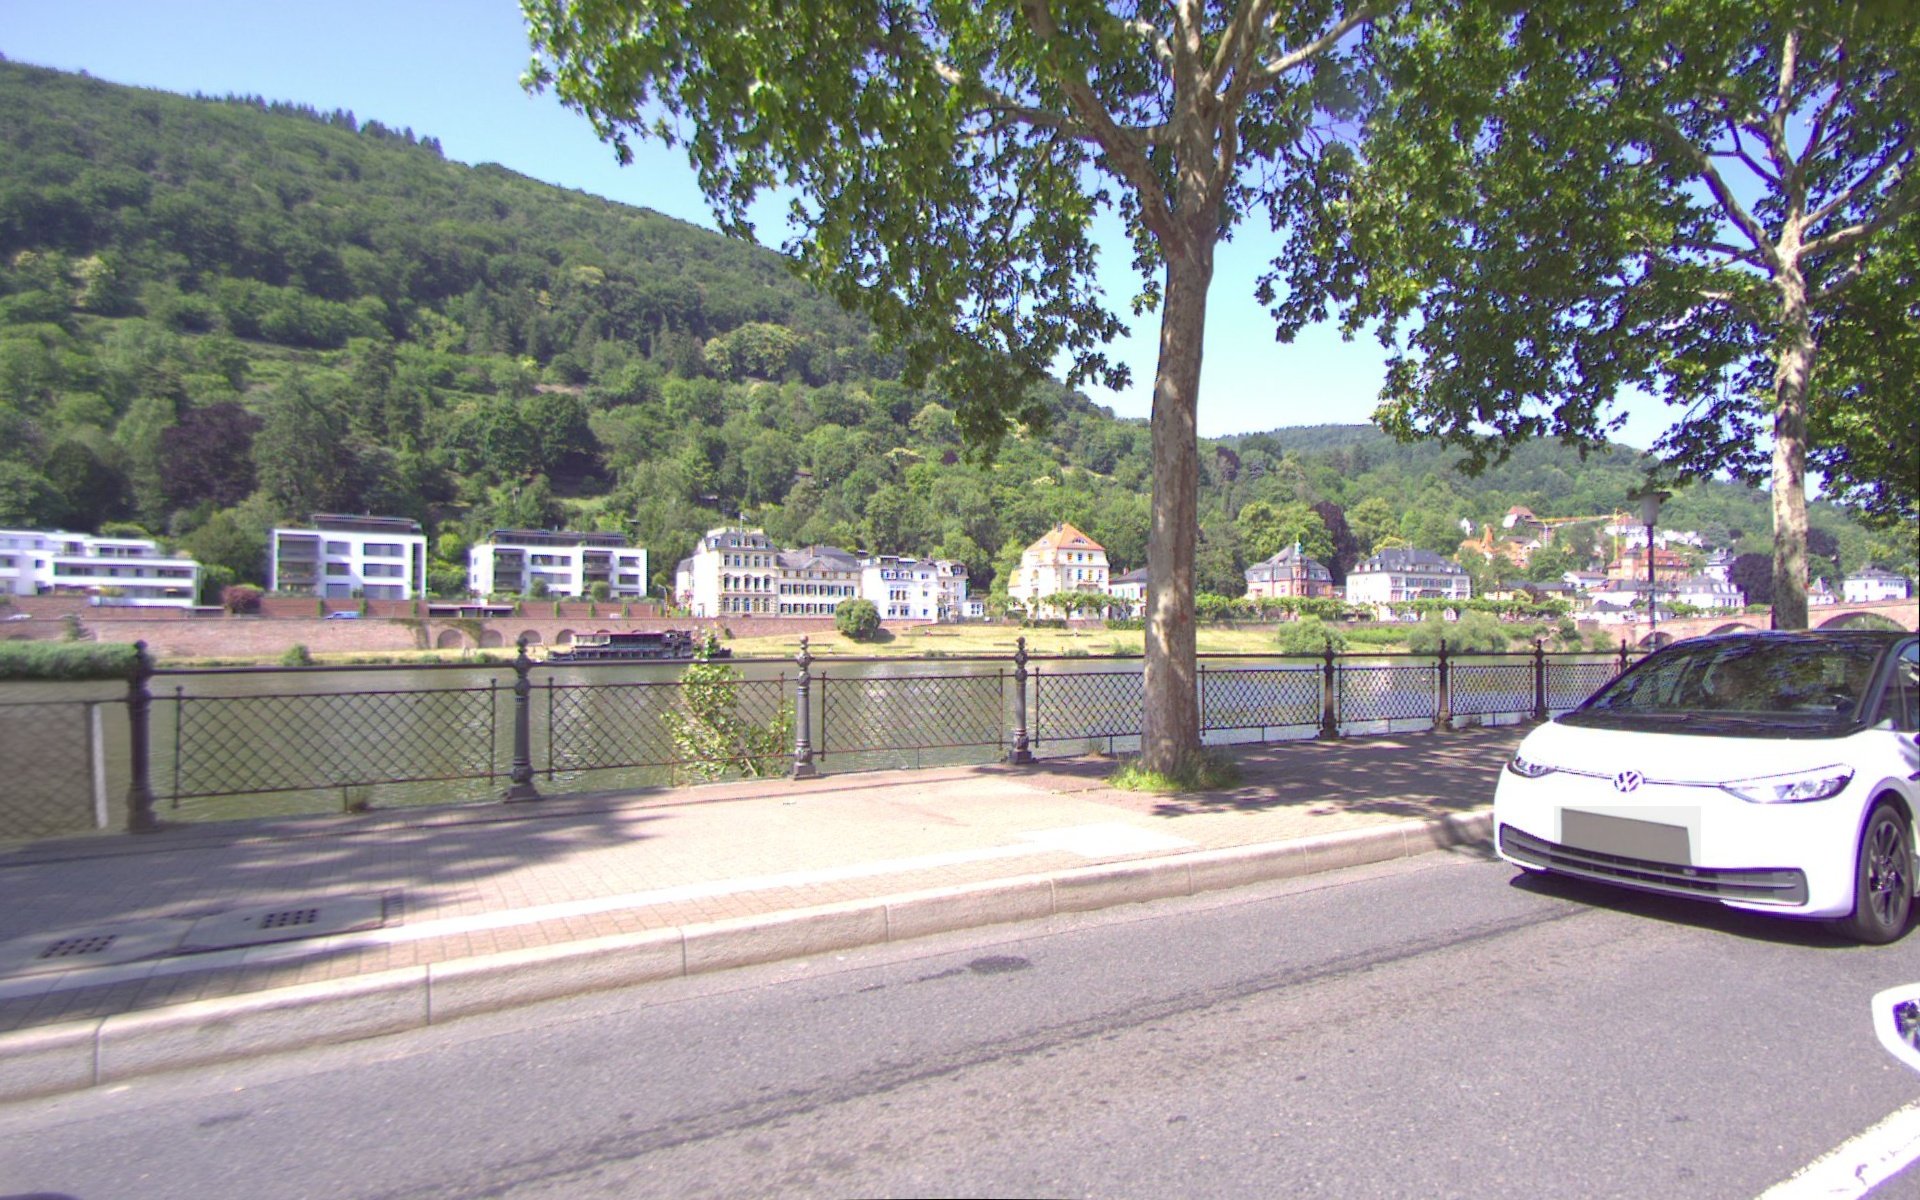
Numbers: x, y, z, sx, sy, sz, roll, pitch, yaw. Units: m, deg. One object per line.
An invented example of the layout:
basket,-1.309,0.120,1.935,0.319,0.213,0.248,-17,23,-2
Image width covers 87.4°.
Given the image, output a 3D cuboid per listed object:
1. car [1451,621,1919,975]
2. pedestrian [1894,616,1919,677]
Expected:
car,5.217,0.945,6.220,4.351,1.538,1.728,1,-3,-29
pedestrian,31.385,1.521,33.051,0.876,1.970,0.690,1,-2,-31
